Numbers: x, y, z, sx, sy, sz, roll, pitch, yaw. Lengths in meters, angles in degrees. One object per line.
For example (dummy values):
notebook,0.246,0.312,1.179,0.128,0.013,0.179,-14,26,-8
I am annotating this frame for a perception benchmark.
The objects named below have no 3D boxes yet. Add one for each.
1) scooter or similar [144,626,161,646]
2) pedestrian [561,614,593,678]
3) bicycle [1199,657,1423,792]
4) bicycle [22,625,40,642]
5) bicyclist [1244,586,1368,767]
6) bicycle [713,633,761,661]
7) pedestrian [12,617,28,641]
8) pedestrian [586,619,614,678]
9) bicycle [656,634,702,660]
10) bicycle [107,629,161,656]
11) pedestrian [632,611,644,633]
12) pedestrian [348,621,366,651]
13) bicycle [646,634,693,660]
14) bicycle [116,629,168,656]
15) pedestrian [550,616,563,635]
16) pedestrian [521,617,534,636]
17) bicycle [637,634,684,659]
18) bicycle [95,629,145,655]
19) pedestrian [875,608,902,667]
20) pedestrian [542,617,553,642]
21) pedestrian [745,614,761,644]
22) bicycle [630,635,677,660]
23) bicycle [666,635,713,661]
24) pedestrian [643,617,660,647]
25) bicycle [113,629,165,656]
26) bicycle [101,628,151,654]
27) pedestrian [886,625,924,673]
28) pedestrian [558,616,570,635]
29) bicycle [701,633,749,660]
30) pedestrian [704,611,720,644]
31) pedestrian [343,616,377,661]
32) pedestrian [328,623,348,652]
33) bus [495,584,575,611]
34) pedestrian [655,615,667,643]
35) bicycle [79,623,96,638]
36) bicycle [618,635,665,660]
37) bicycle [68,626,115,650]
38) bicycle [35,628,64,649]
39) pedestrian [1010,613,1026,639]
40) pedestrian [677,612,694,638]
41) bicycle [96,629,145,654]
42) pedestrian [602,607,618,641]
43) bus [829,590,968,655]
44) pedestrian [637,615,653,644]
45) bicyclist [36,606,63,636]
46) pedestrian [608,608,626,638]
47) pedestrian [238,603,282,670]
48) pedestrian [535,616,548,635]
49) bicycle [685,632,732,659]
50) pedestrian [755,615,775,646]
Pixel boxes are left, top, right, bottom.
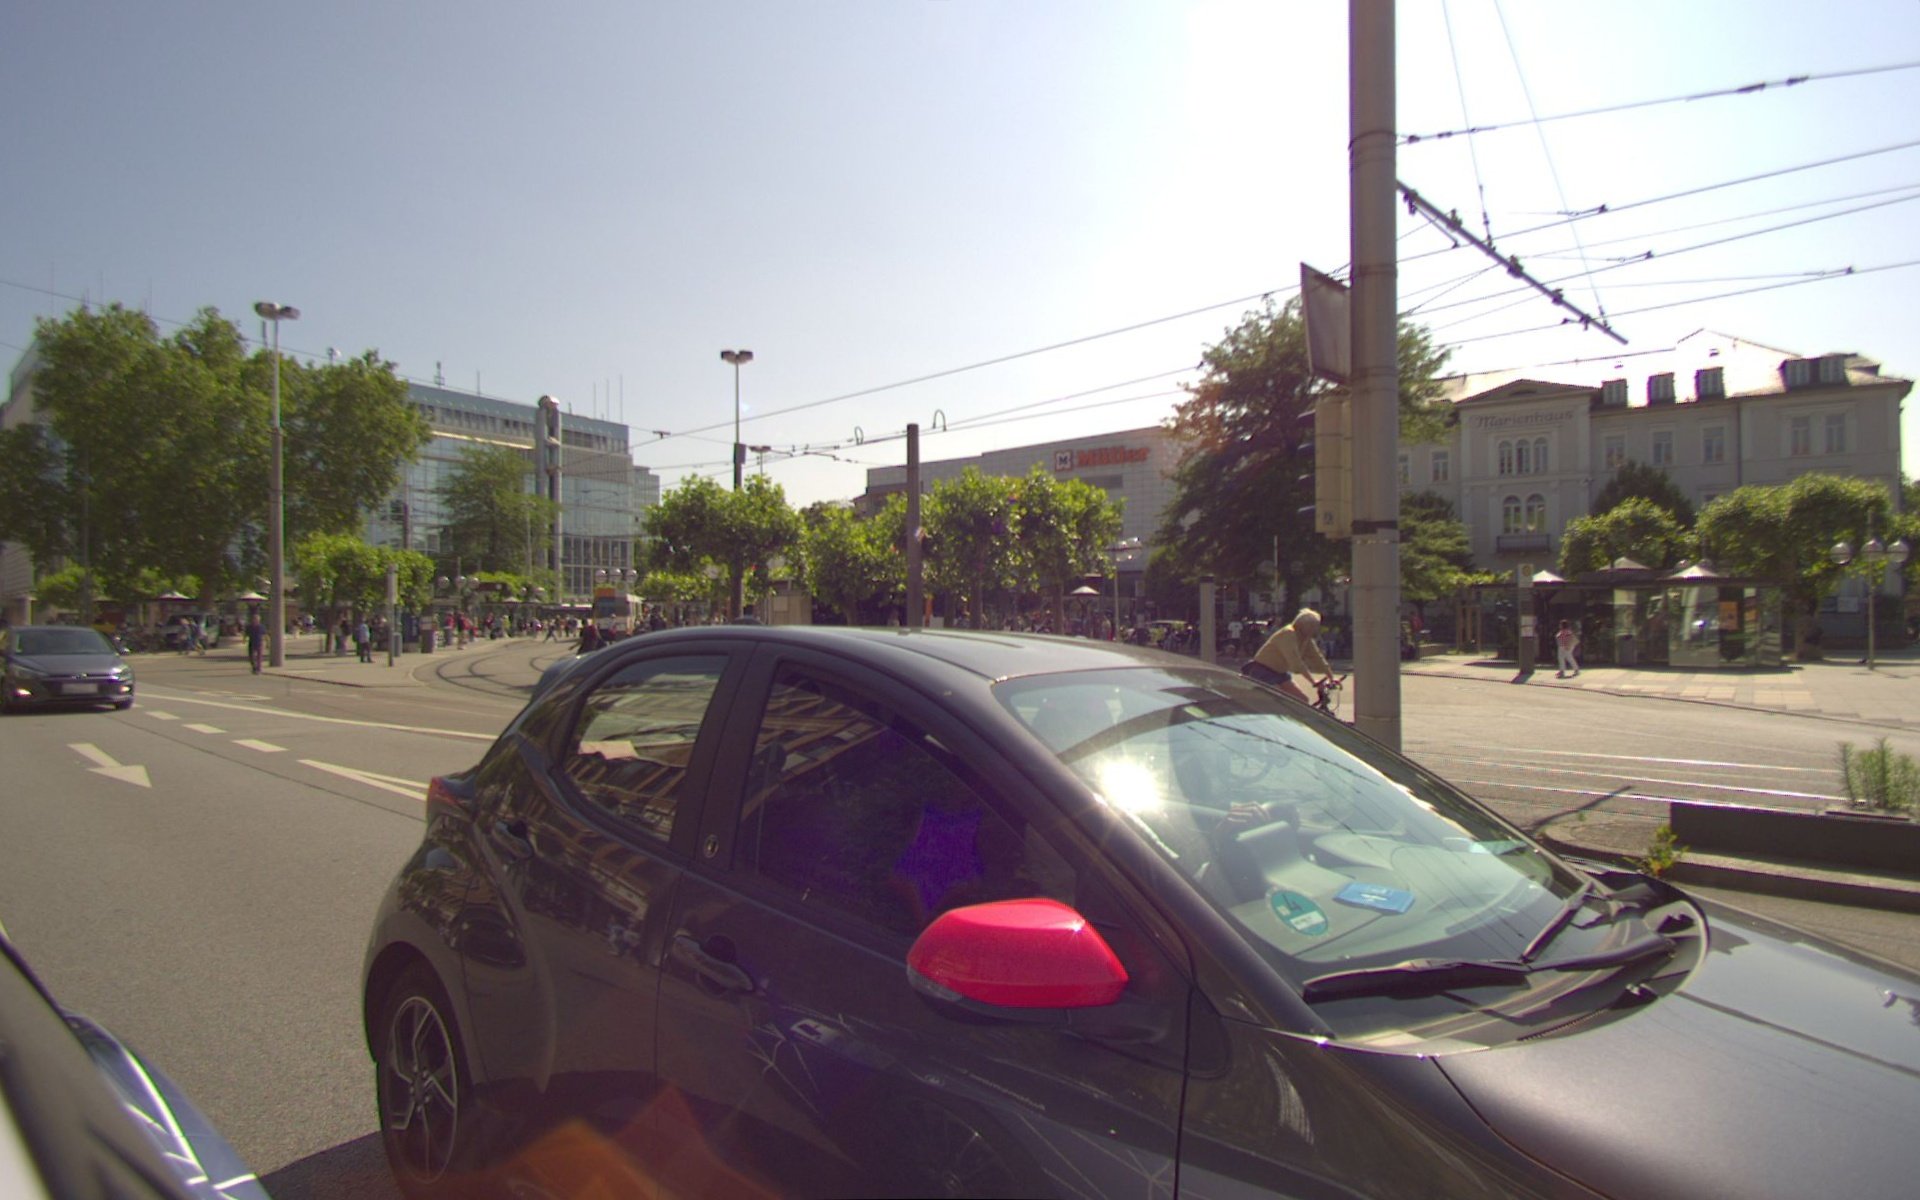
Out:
scooter or similar,-45.782,2.047,57.381,0.559,1.128,0.540,-2,0,-22
pedestrian,-10.519,1.261,27.808,0.581,1.747,0.524,0,-4,11
bicycle,3.345,1.137,9.740,1.873,1.129,0.809,-1,-4,42
bicycle,-65.899,2.392,71.798,0.718,1.152,1.917,-2,0,-35
bicyclist,3.341,0.733,9.779,0.902,1.634,0.809,-2,-6,41
bicycle,-7.900,1.640,35.892,0.579,0.876,1.853,-1,0,28
pedestrian,-66.384,2.052,71.500,0.721,1.682,0.641,-2,0,-35
pedestrian,-10.020,1.346,28.167,0.518,1.622,0.627,4,-5,-39
bicycle,-10.526,1.737,37.978,0.544,0.862,1.853,-1,0,28
bicycle,-37.354,1.896,45.800,0.482,1.156,1.842,-1,-1,39
pedestrian,-23.401,1.616,73.565,0.573,1.561,0.677,0,-4,14
pedestrian,-30.576,1.812,51.318,0.716,1.476,0.682,-1,-2,-28
bicycle,-10.994,1.769,38.364,0.544,0.862,1.853,-1,0,28
bicycle,-36.329,1.877,44.960,0.482,1.156,1.735,-1,-1,39
pedestrian,-32.076,2.024,80.407,0.555,1.483,0.747,-1,0,41
pedestrian,-34.131,2.084,79.868,0.555,1.483,0.747,-1,0,41
bicycle,-11.416,1.765,38.650,0.544,0.862,1.853,-1,0,28
bicycle,-39.266,1.935,47.307,0.482,1.156,1.735,-1,-1,39
pedestrian,-2.002,1.063,28.437,0.597,1.622,0.573,0,-4,12
pedestrian,-26.842,1.927,65.872,0.448,1.561,0.474,0,-4,15
pedestrian,-10.990,1.536,53.720,0.530,1.565,0.592,-3,-5,44
bicycle,-11.802,1.821,38.977,0.580,0.878,1.853,-1,0,28
bicycle,-10.052,1.784,37.668,0.544,0.862,1.853,-1,0,28
pedestrian,-15.252,1.580,50.054,0.617,1.429,0.680,0,-1,3
bicycle,-36.695,1.884,45.258,0.482,1.156,1.735,-1,-1,39
bicycle,-38.254,1.856,46.444,0.482,1.156,1.735,-1,-1,39
pedestrian,-1.465,1.322,27.095,0.751,1.256,0.669,-2,-4,35
pedestrian,-32.028,2.074,81.833,0.555,1.483,0.747,-1,0,41
bicycle,-8.393,1.651,36.146,0.579,0.876,1.853,-1,0,28
pedestrian,-13.399,1.482,54.727,0.584,1.744,0.557,-1,-4,19
pedestrian,-22.567,1.440,38.073,0.678,1.671,0.885,-1,-1,32
pedestrian,-26.709,1.596,43.454,0.568,1.243,0.555,0,-1,-15
bus,-47.938,-0.311,114.713,2.363,2.811,12.151,-1,0,9
pedestrian,-18.908,1.840,63.999,0.462,1.731,0.555,-1,-4,19
bicycle,-68.466,2.394,79.382,1.753,1.156,0.586,-1,-1,34
bicycle,-12.362,1.825,39.329,0.544,0.862,1.853,-1,0,28
bicycle,-43.705,1.919,50.914,0.482,1.156,1.735,-1,-1,39
bicycle,-47.112,1.973,52.351,2.625,1.030,0.820,-1,0,41
pedestrian,3.267,1.475,57.086,0.681,1.477,0.616,-3,-5,44
pedestrian,-16.047,1.475,59.191,0.675,1.513,0.621,-1,-4,19
bicycle,-39.658,1.942,47.807,0.482,1.156,1.735,-1,-1,39
pedestrian,-17.742,1.218,51.280,0.518,1.678,0.469,-1,-4,19
bus,-4.000,1.230,60.438,3.014,3.445,12.498,-2,0,-30
pedestrian,-19.474,1.822,62.638,0.675,1.809,0.621,-1,-4,19
bicyclist,-47.007,1.100,52.265,1.159,1.509,0.821,-1,0,39
pedestrian,-17.216,1.136,50.820,0.549,1.477,0.621,-1,-4,19
pedestrian,-21.498,1.120,31.089,0.670,2.023,0.895,1,-3,-2
pedestrian,-33.080,2.034,80.078,0.555,1.483,0.747,-1,0,41
bicycle,-9.226,1.664,37.175,0.579,0.876,1.853,-1,0,28
pedestrian,-9.398,1.475,48.845,0.670,1.477,0.626,4,-5,-43
